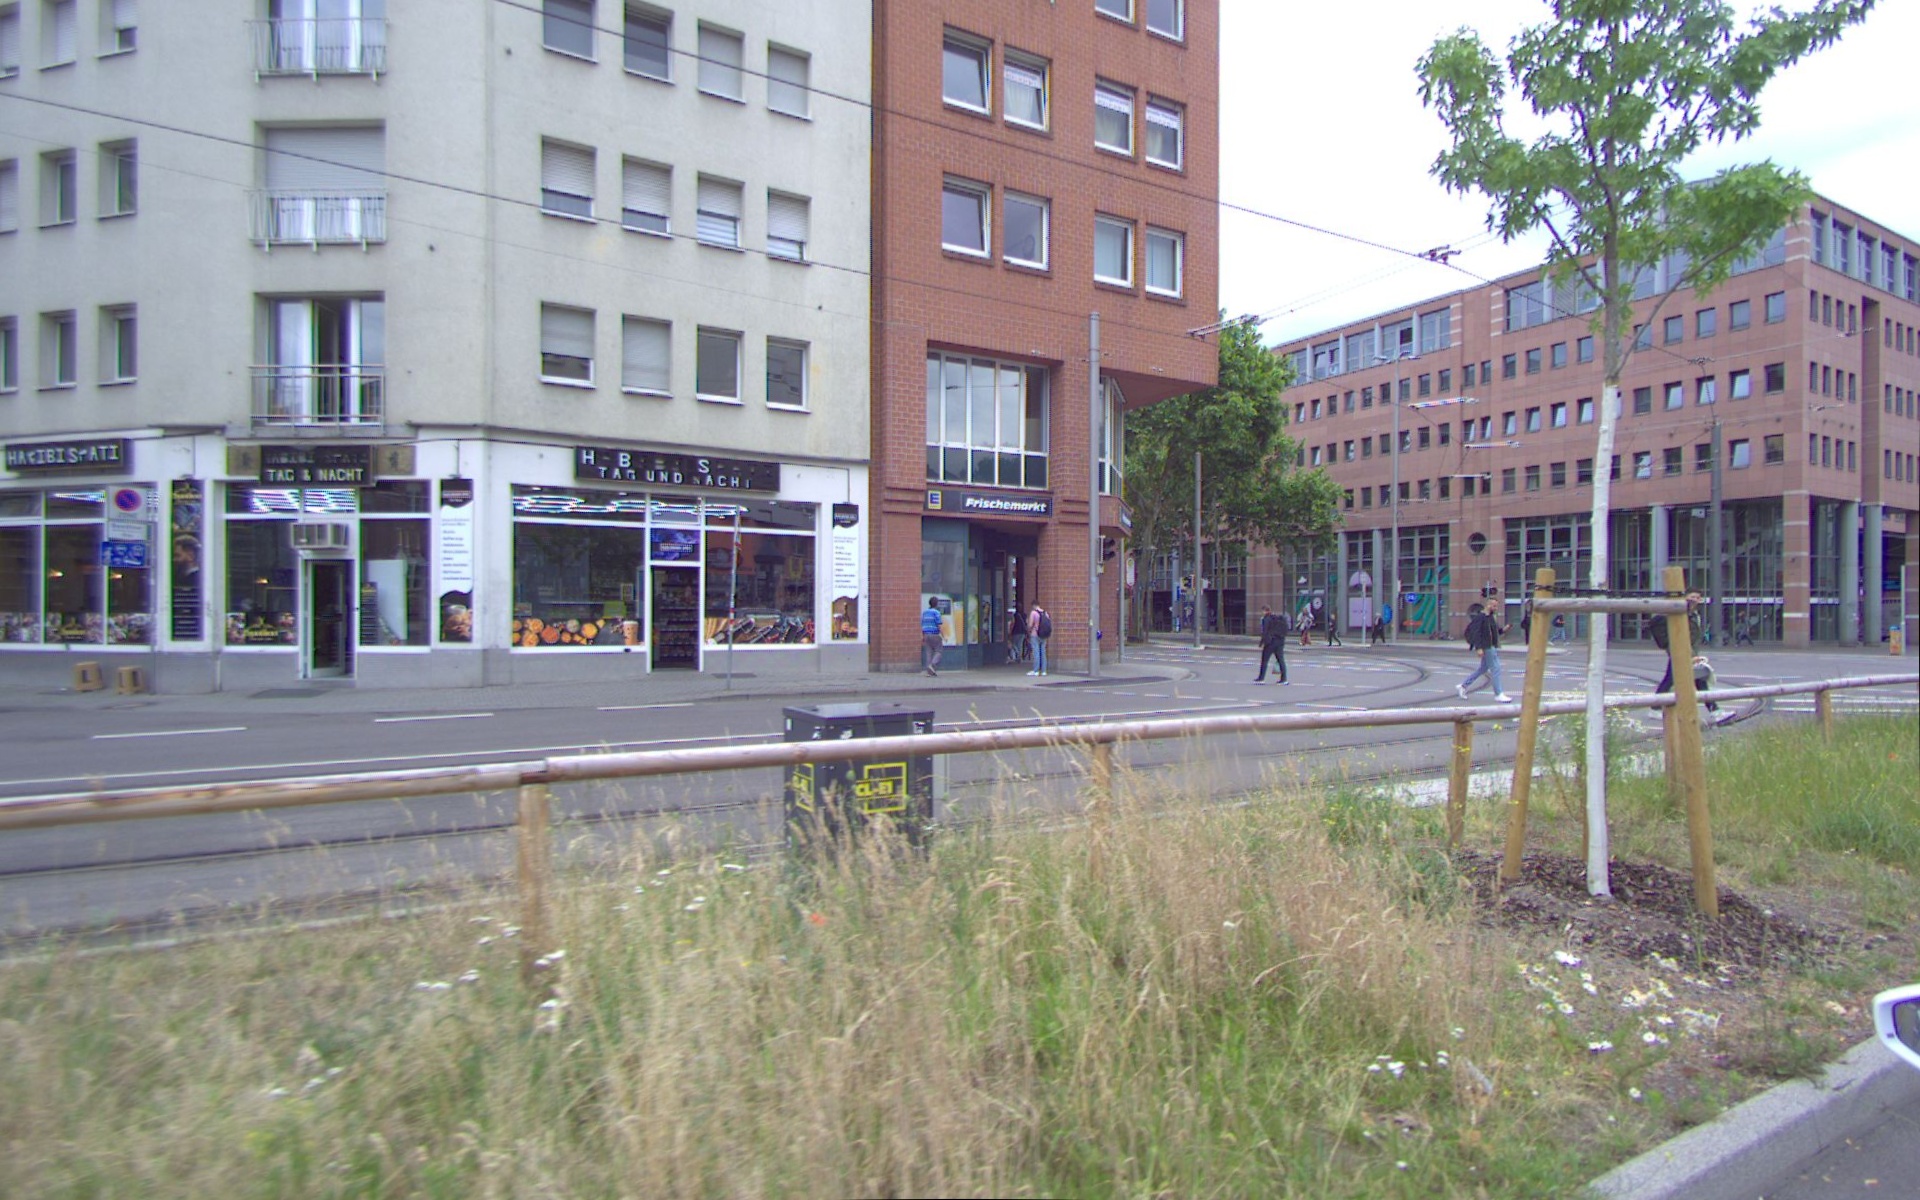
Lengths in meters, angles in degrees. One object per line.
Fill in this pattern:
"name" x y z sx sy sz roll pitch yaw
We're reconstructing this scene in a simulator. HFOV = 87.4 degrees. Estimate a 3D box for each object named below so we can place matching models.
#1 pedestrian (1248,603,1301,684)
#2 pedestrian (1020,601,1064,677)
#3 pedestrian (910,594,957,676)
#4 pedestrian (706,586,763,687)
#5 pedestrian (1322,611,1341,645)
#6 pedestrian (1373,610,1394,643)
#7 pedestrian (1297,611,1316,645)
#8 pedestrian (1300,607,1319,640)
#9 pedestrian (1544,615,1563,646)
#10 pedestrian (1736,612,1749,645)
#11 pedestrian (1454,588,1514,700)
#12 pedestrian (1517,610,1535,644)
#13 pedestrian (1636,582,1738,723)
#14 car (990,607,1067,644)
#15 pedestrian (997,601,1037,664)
"pedestrian" 6.902 0.941 22.068 0.791 1.706 0.739 1 1 -34
"pedestrian" 1.868 0.882 22.912 0.791 1.706 0.565 1 1 -34
"pedestrian" -0.568 0.749 21.431 0.716 1.709 0.655 2 -2 -39
"pedestrian" -3.925 0.636 17.503 0.717 1.709 0.654 2 -2 -42
"pedestrian" 17.727 1.343 47.967 0.624 1.595 0.568 2 0 -37
"pedestrian" 20.739 1.282 49.154 0.734 1.581 0.571 2 0 -24
"pedestrian" 16.987 1.378 49.221 0.624 1.633 0.568 2 0 -37
"pedestrian" 17.384 1.176 49.966 0.624 1.633 0.568 2 0 -37
"pedestrian" 30.858 1.560 52.256 0.733 1.581 0.571 1 0 42
"pedestrian" 37.127 1.329 47.655 0.444 1.552 0.519 1 1 43
"pedestrian" 9.163 0.759 17.563 0.790 1.915 0.607 1 -1 -32
"pedestrian" 29.514 1.412 52.346 0.732 1.710 0.572 2 0 34
"pedestrian" 10.307 0.720 14.250 0.790 1.915 0.892 1 1 -32
"car" 3.484 1.259 51.399 1.908 1.817 3.962 1 -1 -34
"pedestrian" 1.586 0.904 28.118 0.791 1.706 0.739 1 1 -34
